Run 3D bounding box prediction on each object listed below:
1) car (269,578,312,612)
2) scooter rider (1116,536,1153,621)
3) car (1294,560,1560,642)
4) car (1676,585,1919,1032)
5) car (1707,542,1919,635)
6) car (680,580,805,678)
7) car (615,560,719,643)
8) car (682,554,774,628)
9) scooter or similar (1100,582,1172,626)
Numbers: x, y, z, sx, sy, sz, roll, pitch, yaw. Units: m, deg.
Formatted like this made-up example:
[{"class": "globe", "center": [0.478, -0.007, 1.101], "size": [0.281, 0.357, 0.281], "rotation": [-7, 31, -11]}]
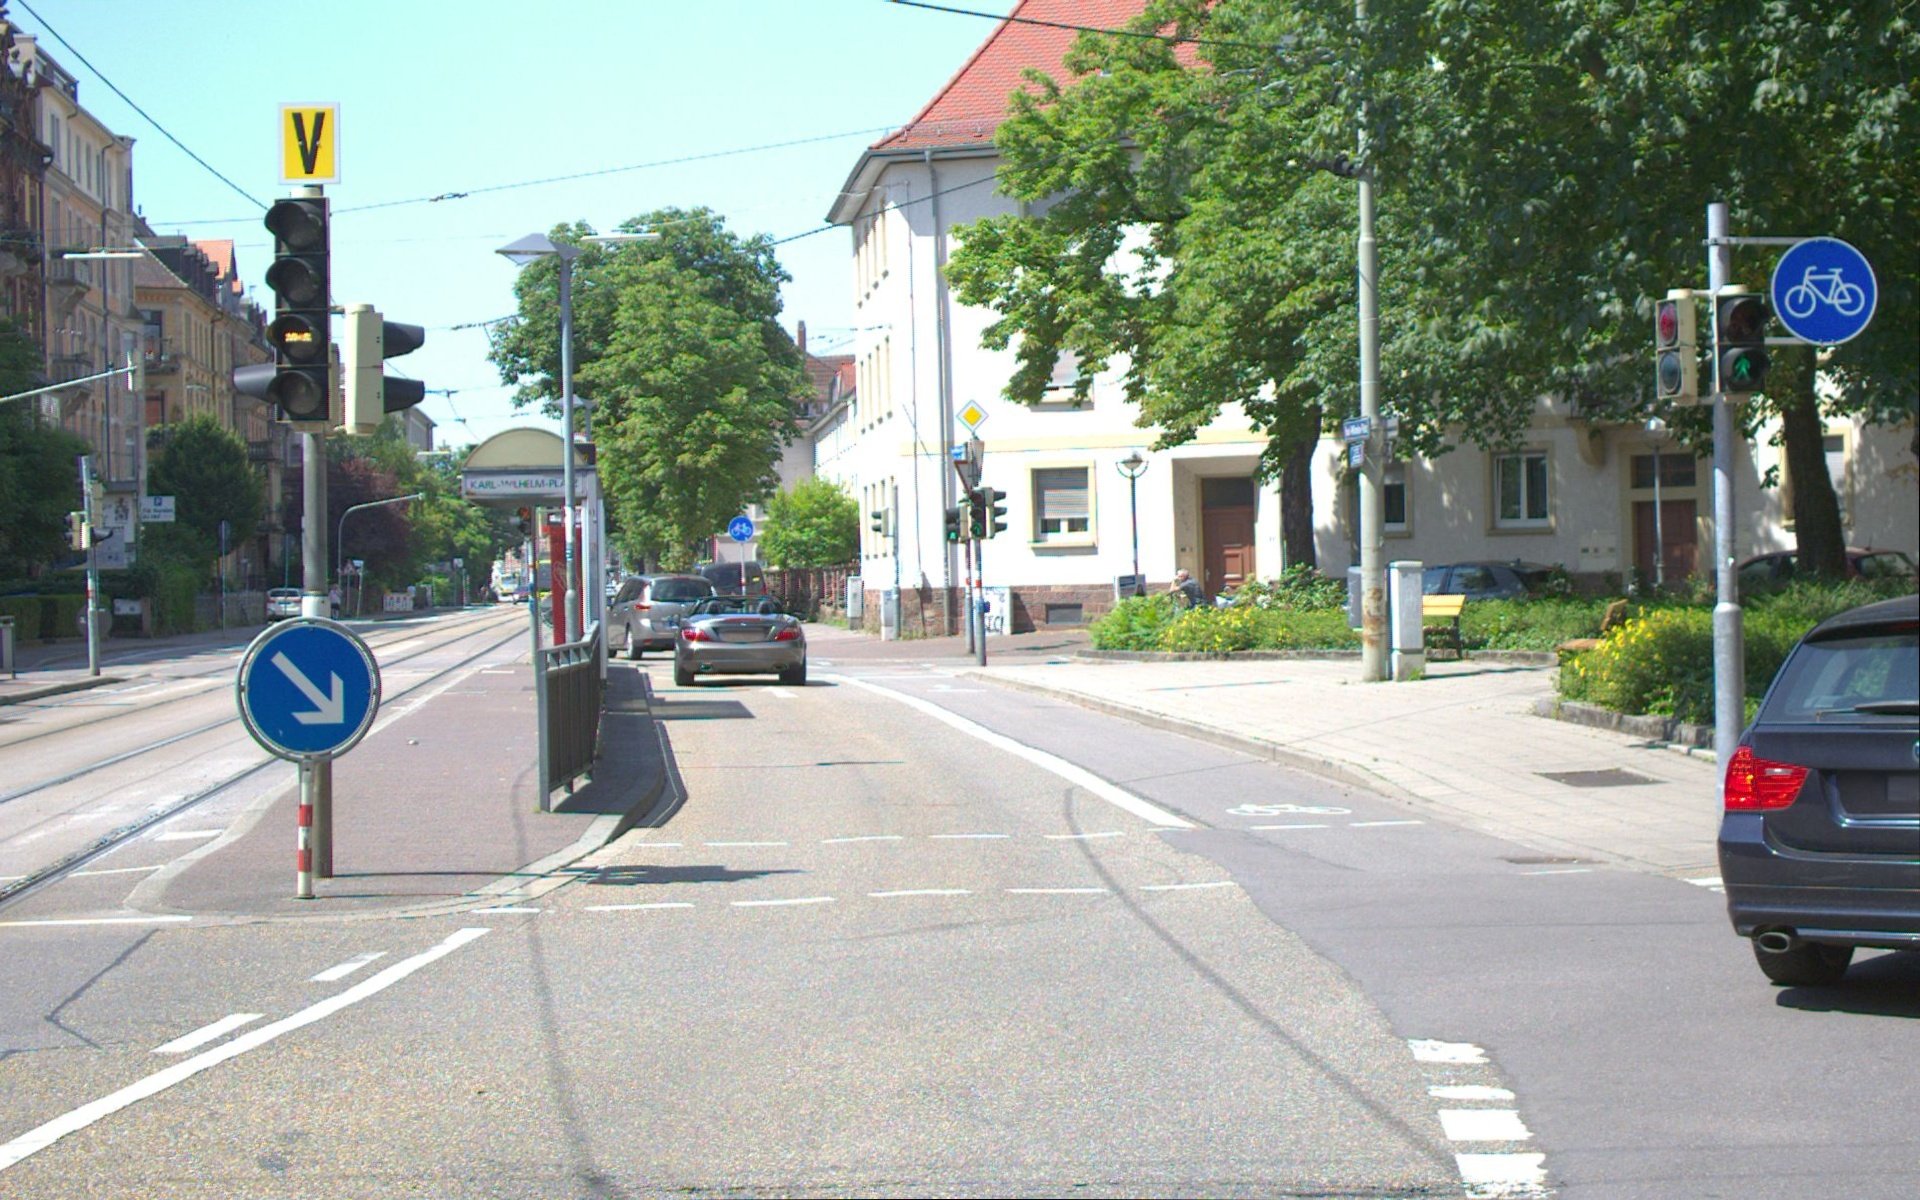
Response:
[{"class": "car", "center": [-31.595, -0.250, 162.079], "size": [1.787, 1.580, 4.001], "rotation": [0, 0, -14]}, {"class": "scooter rider", "center": [3.480, -0.424, 68.455], "size": [0.590, 1.681, 0.528], "rotation": [-1, 0, -11]}, {"class": "car", "center": [7.656, 0.017, 56.428], "size": [3.993, 1.239, 1.621], "rotation": [-1, 1, 30]}, {"class": "car", "center": [4.333, 0.666, 12.783], "size": [1.726, 1.404, 4.556], "rotation": [1, 1, 33]}, {"class": "car", "center": [13.423, -0.176, 51.207], "size": [1.787, 1.324, 4.338], "rotation": [-2, 1, -38]}, {"class": "car", "center": [-3.154, 0.386, 49.361], "size": [1.691, 1.318, 3.822], "rotation": [-1, 0, -5]}, {"class": "car", "center": [-5.639, 0.011, 65.828], "size": [1.691, 1.508, 3.822], "rotation": [-1, 0, -9]}, {"class": "car", "center": [-6.059, -0.243, 89.353], "size": [1.993, 1.842, 4.001], "rotation": [-1, 1, -9]}, {"class": "scooter or similar", "center": [3.502, 0.083, 68.458], "size": [1.311, 0.834, 0.527], "rotation": [-1, 0, -11]}]
